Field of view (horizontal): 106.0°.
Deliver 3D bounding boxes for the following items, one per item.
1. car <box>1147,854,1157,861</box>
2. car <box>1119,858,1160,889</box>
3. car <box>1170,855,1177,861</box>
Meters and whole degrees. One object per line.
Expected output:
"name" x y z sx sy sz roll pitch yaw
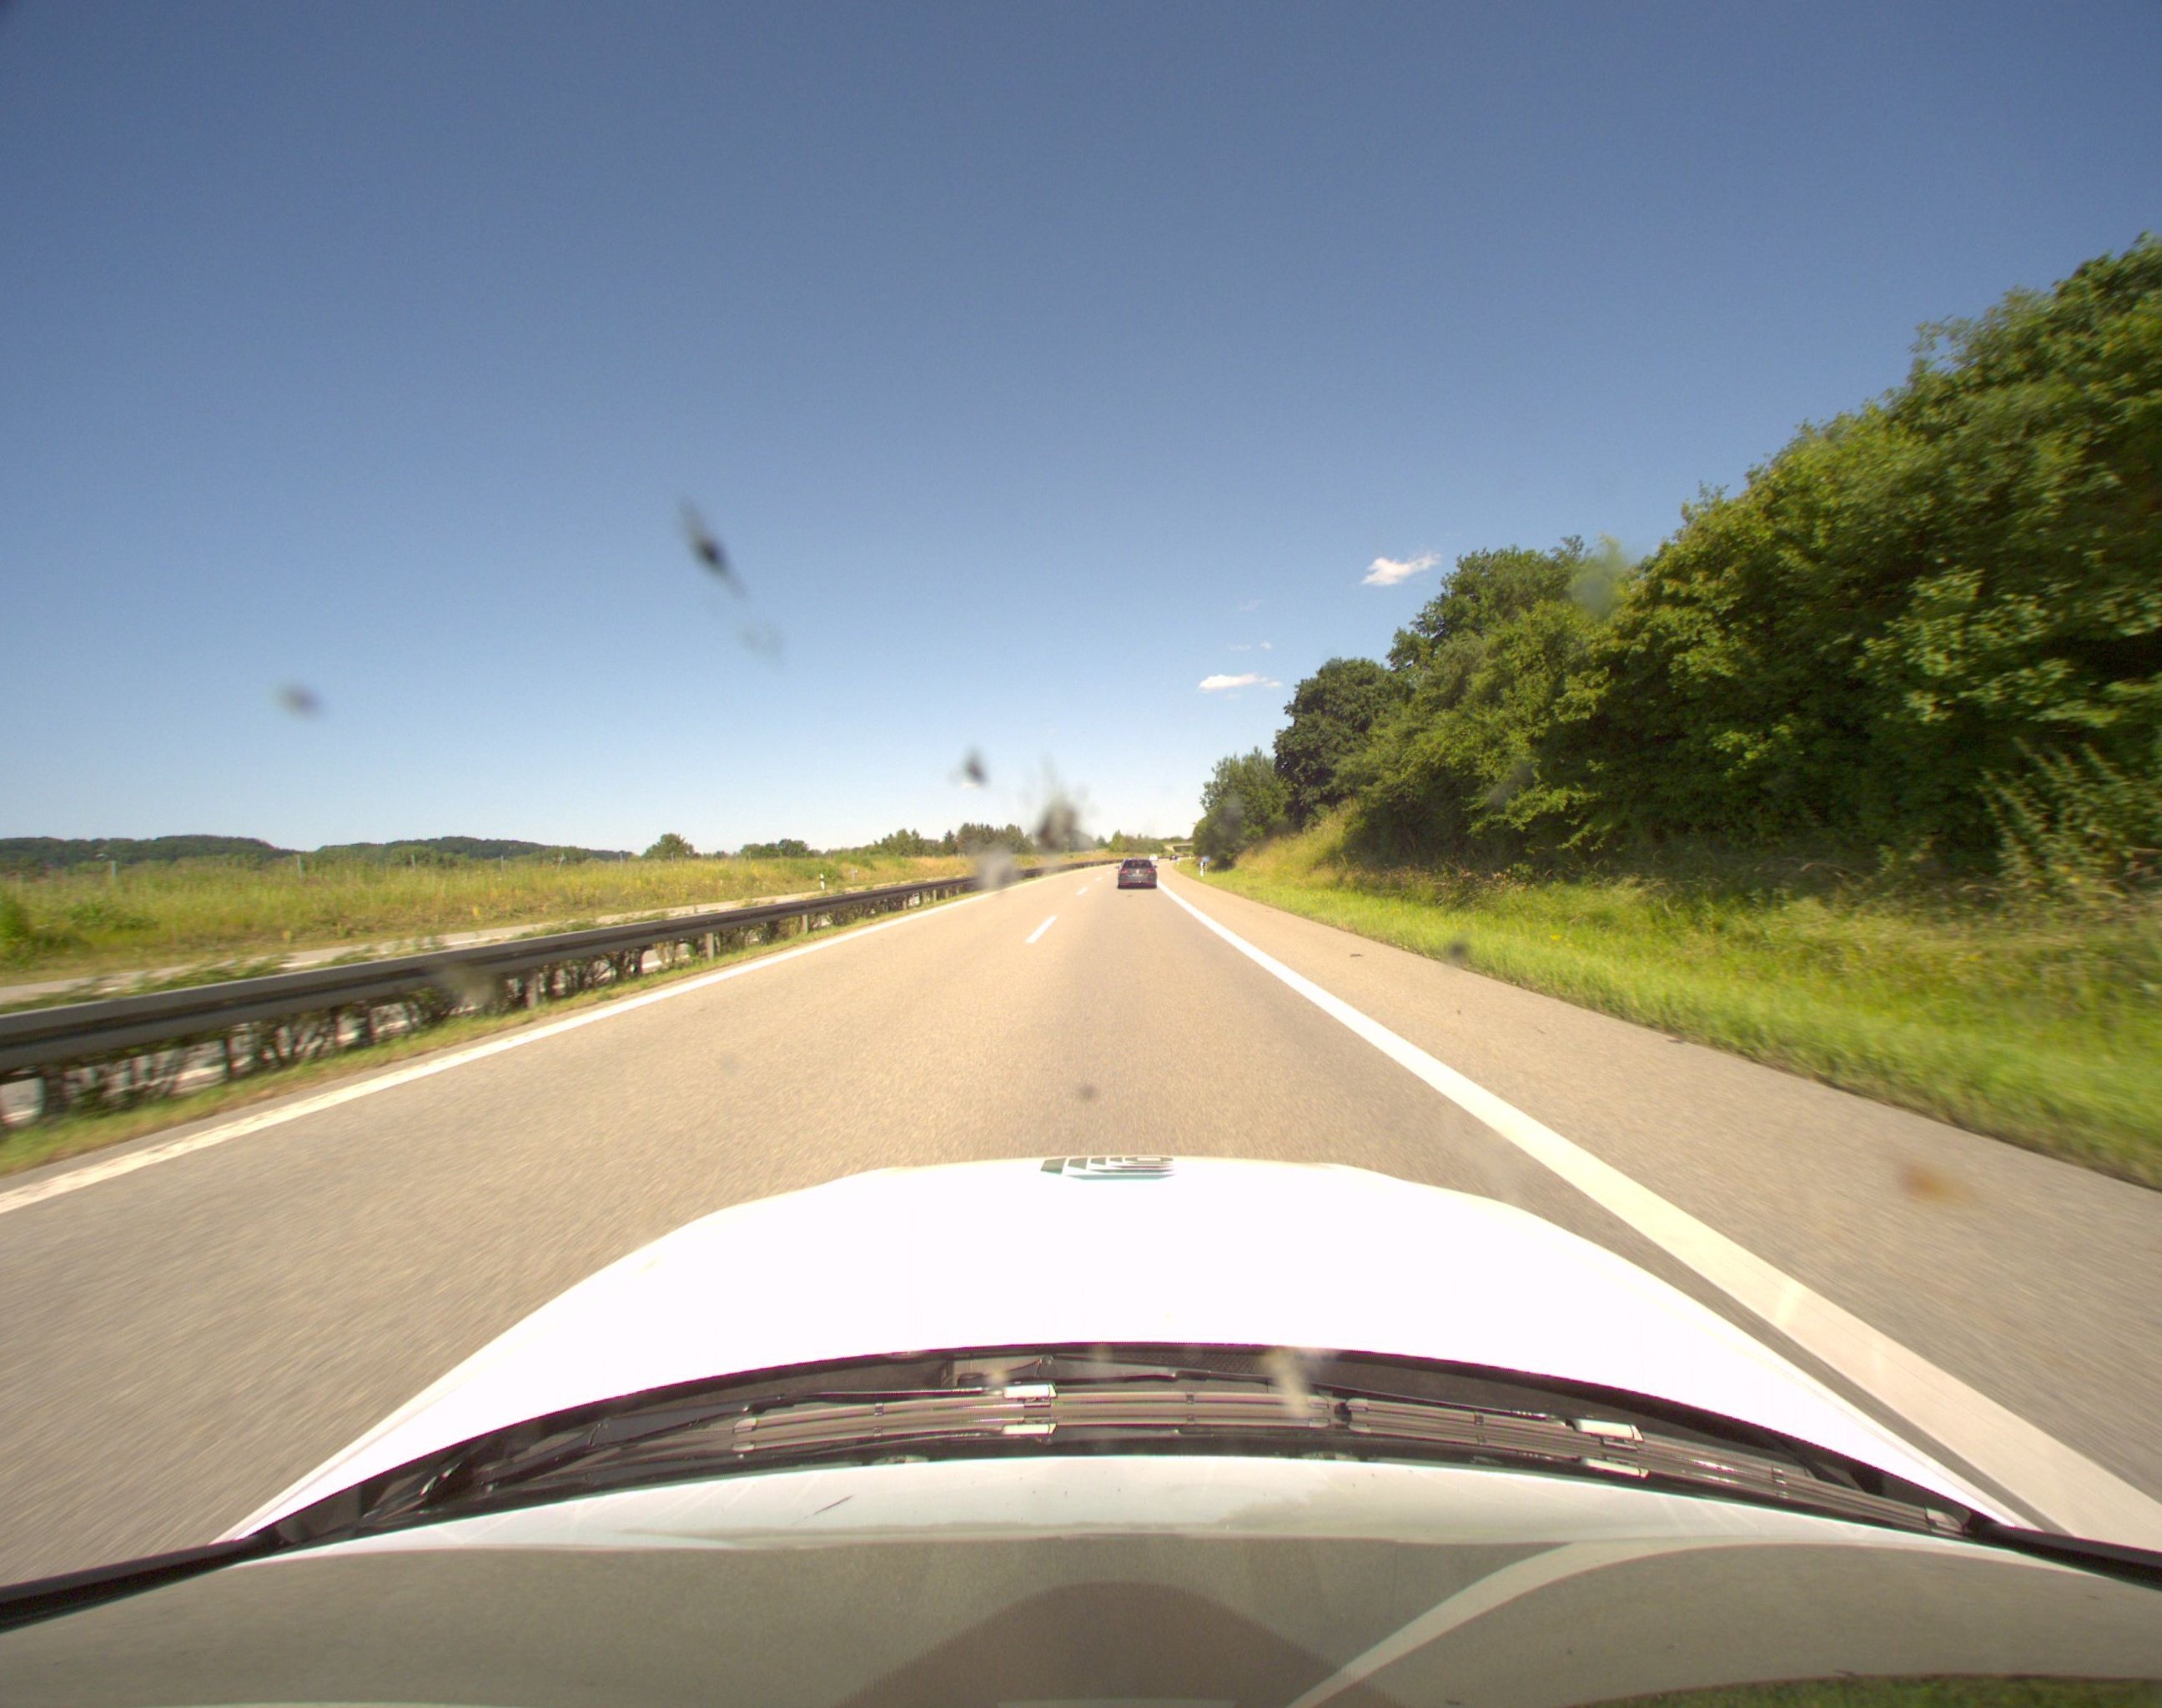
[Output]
"car" 15.951 0.763 183.254 1.996 1.345 4.008 0 -1 7
"car" 2.744 0.896 38.122 1.783 1.344 4.004 0 -1 4
"car" 23.304 0.947 204.583 1.700 1.387 3.364 0 -1 9
